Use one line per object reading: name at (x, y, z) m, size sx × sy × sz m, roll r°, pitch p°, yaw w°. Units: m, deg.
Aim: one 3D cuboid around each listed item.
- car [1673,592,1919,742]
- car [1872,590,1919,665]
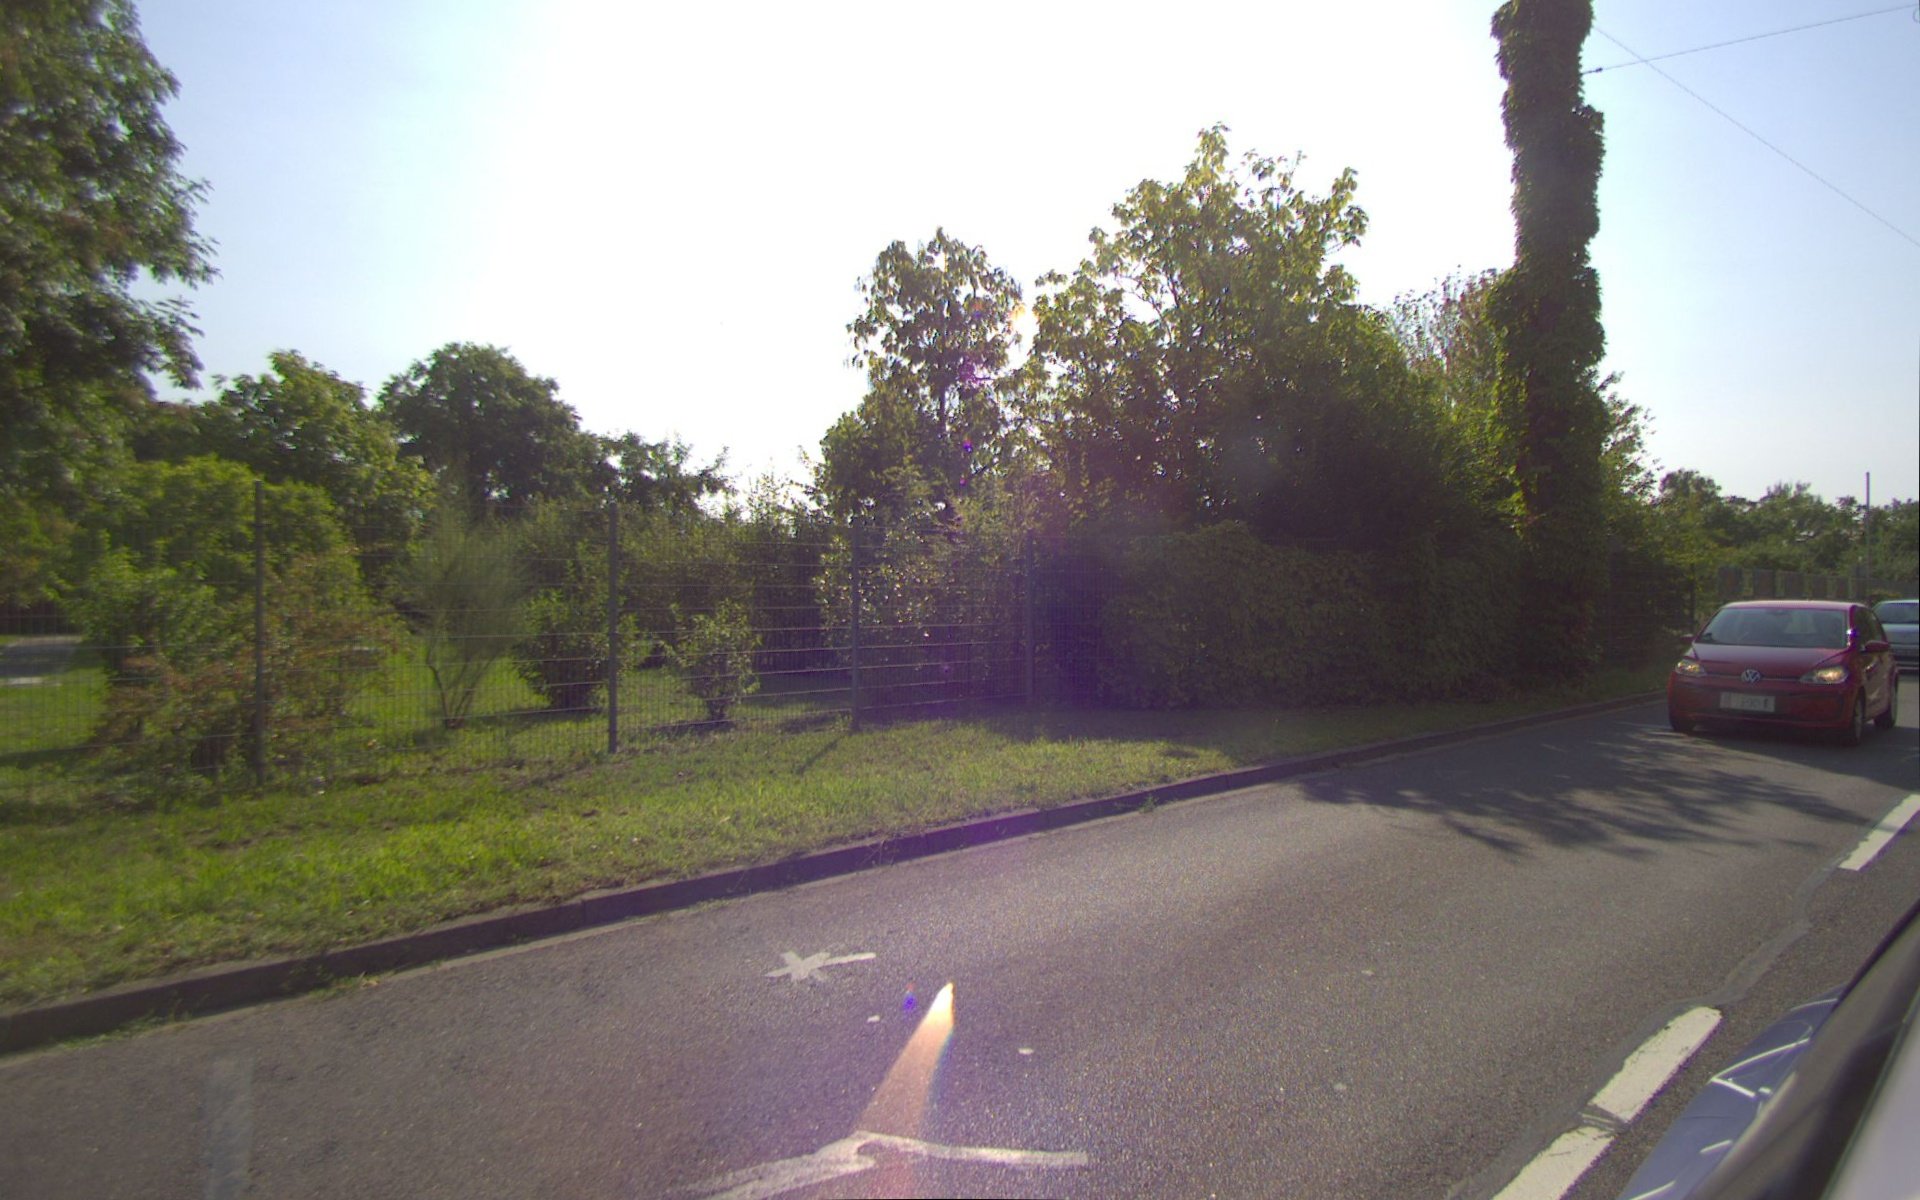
car at (9.558, 0.634, 11.499) m, size 3.411 × 1.416 × 1.578 m, roll 0°, pitch 1°, yaw -40°
car at (20.535, 0.531, 21.252) m, size 3.832 × 1.494 × 1.647 m, roll 0°, pitch 0°, yaw -42°
